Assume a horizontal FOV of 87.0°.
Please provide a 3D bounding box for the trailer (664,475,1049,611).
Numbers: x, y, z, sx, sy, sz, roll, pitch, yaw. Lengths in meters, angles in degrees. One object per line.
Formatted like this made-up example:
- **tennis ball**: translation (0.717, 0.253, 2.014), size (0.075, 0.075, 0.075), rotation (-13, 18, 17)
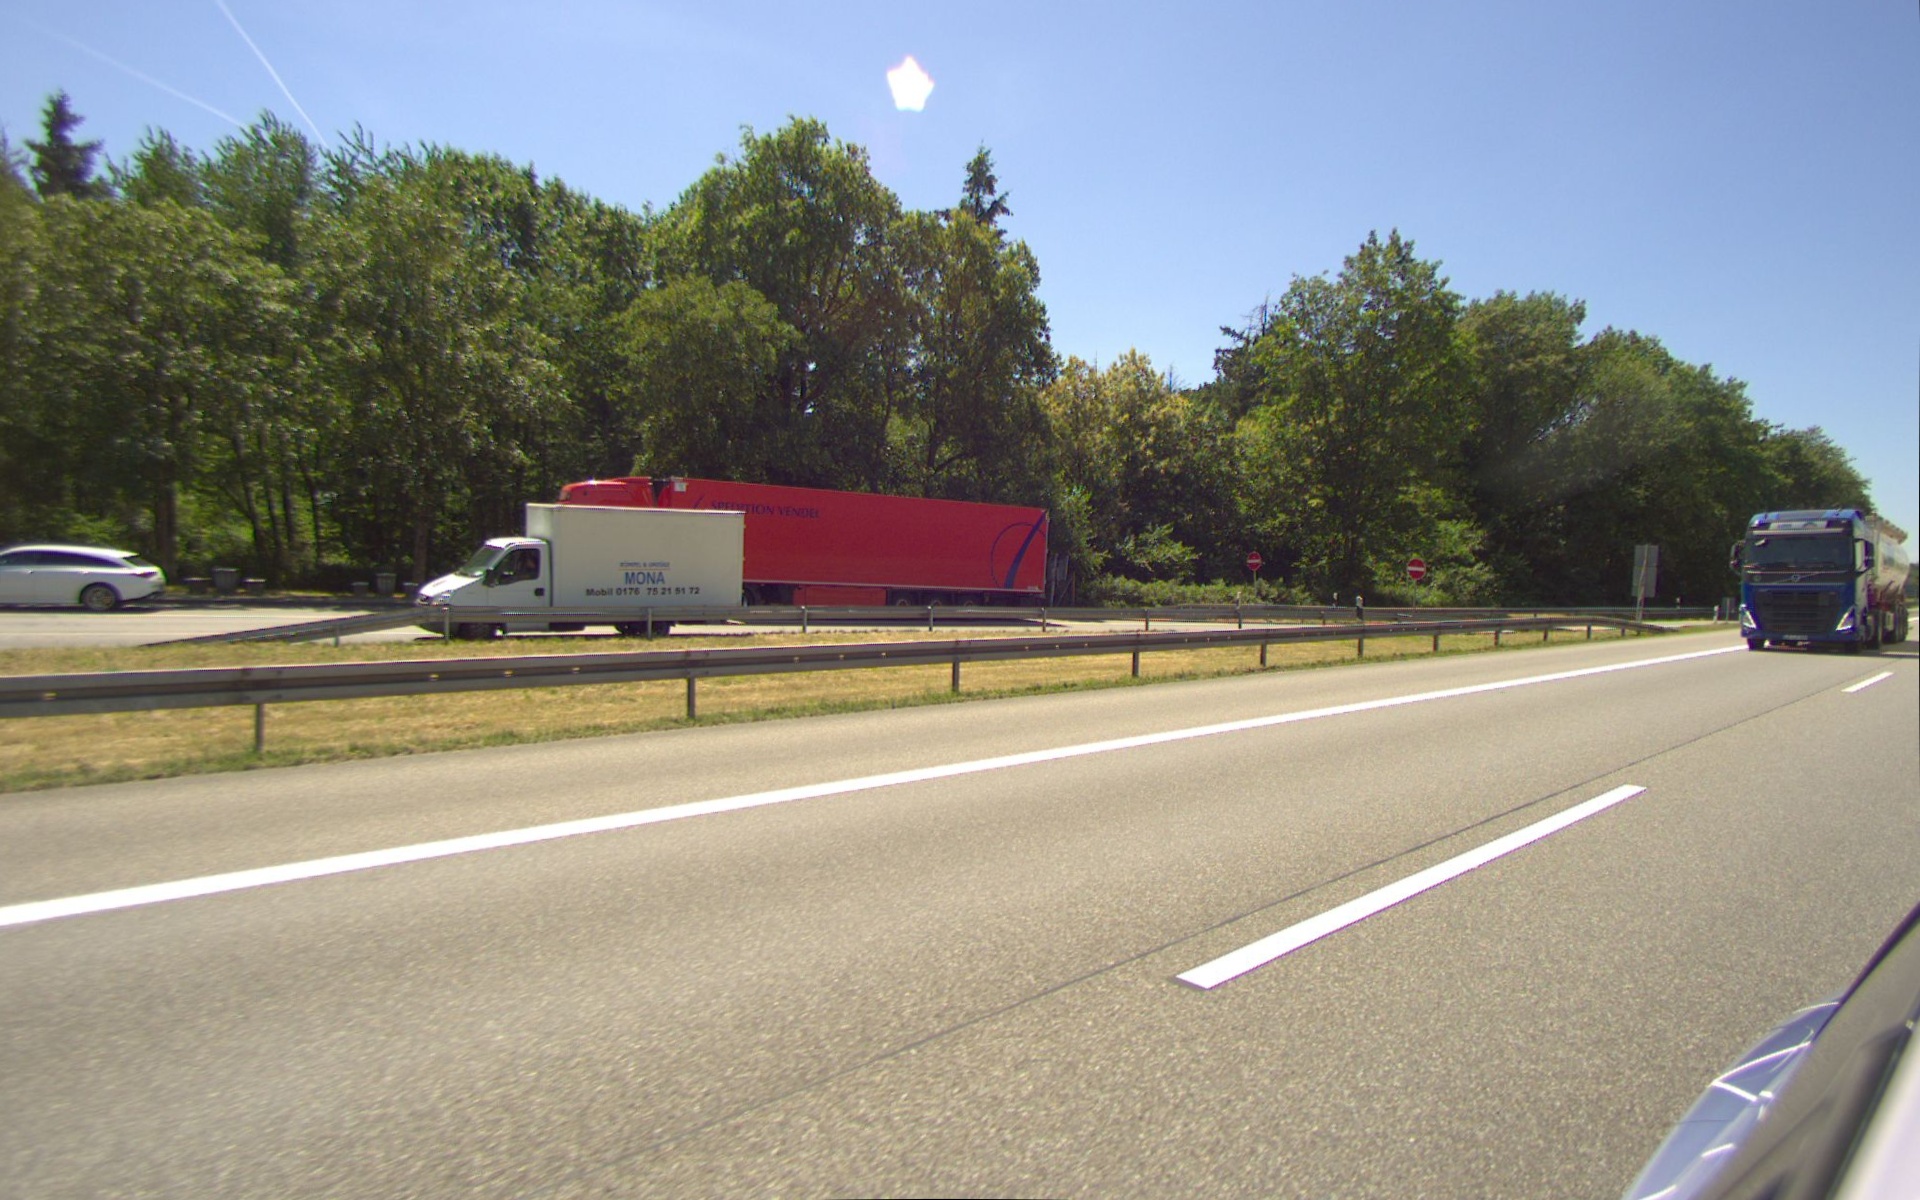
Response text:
- **trailer**: translation (-3.106, -1.695, 33.766), size (12.630, 3.926, 2.993), rotation (0, 2, -30)

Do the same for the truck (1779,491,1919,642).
- **truck**: translation (28.265, -0.972, 31.730), size (10.361, 4.094, 2.446), rotation (-1, 1, -42)

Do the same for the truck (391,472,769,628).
- **truck**: translation (-8.225, -1.004, 22.603), size (7.522, 2.982, 2.474), rotation (0, 1, -39)

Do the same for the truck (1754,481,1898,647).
- **truck**: translation (23.350, -0.923, 27.257), size (4.002, 4.088, 2.453), rotation (0, 1, -42)

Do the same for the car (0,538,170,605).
- **car**: translation (-21.253, -0.666, 23.047), size (4.935, 1.469, 2.002), rotation (0, 2, -32)

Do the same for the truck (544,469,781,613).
- **truck**: translation (-8.893, -1.674, 30.370), size (6.289, 3.929, 2.993), rotation (0, 2, -30)
